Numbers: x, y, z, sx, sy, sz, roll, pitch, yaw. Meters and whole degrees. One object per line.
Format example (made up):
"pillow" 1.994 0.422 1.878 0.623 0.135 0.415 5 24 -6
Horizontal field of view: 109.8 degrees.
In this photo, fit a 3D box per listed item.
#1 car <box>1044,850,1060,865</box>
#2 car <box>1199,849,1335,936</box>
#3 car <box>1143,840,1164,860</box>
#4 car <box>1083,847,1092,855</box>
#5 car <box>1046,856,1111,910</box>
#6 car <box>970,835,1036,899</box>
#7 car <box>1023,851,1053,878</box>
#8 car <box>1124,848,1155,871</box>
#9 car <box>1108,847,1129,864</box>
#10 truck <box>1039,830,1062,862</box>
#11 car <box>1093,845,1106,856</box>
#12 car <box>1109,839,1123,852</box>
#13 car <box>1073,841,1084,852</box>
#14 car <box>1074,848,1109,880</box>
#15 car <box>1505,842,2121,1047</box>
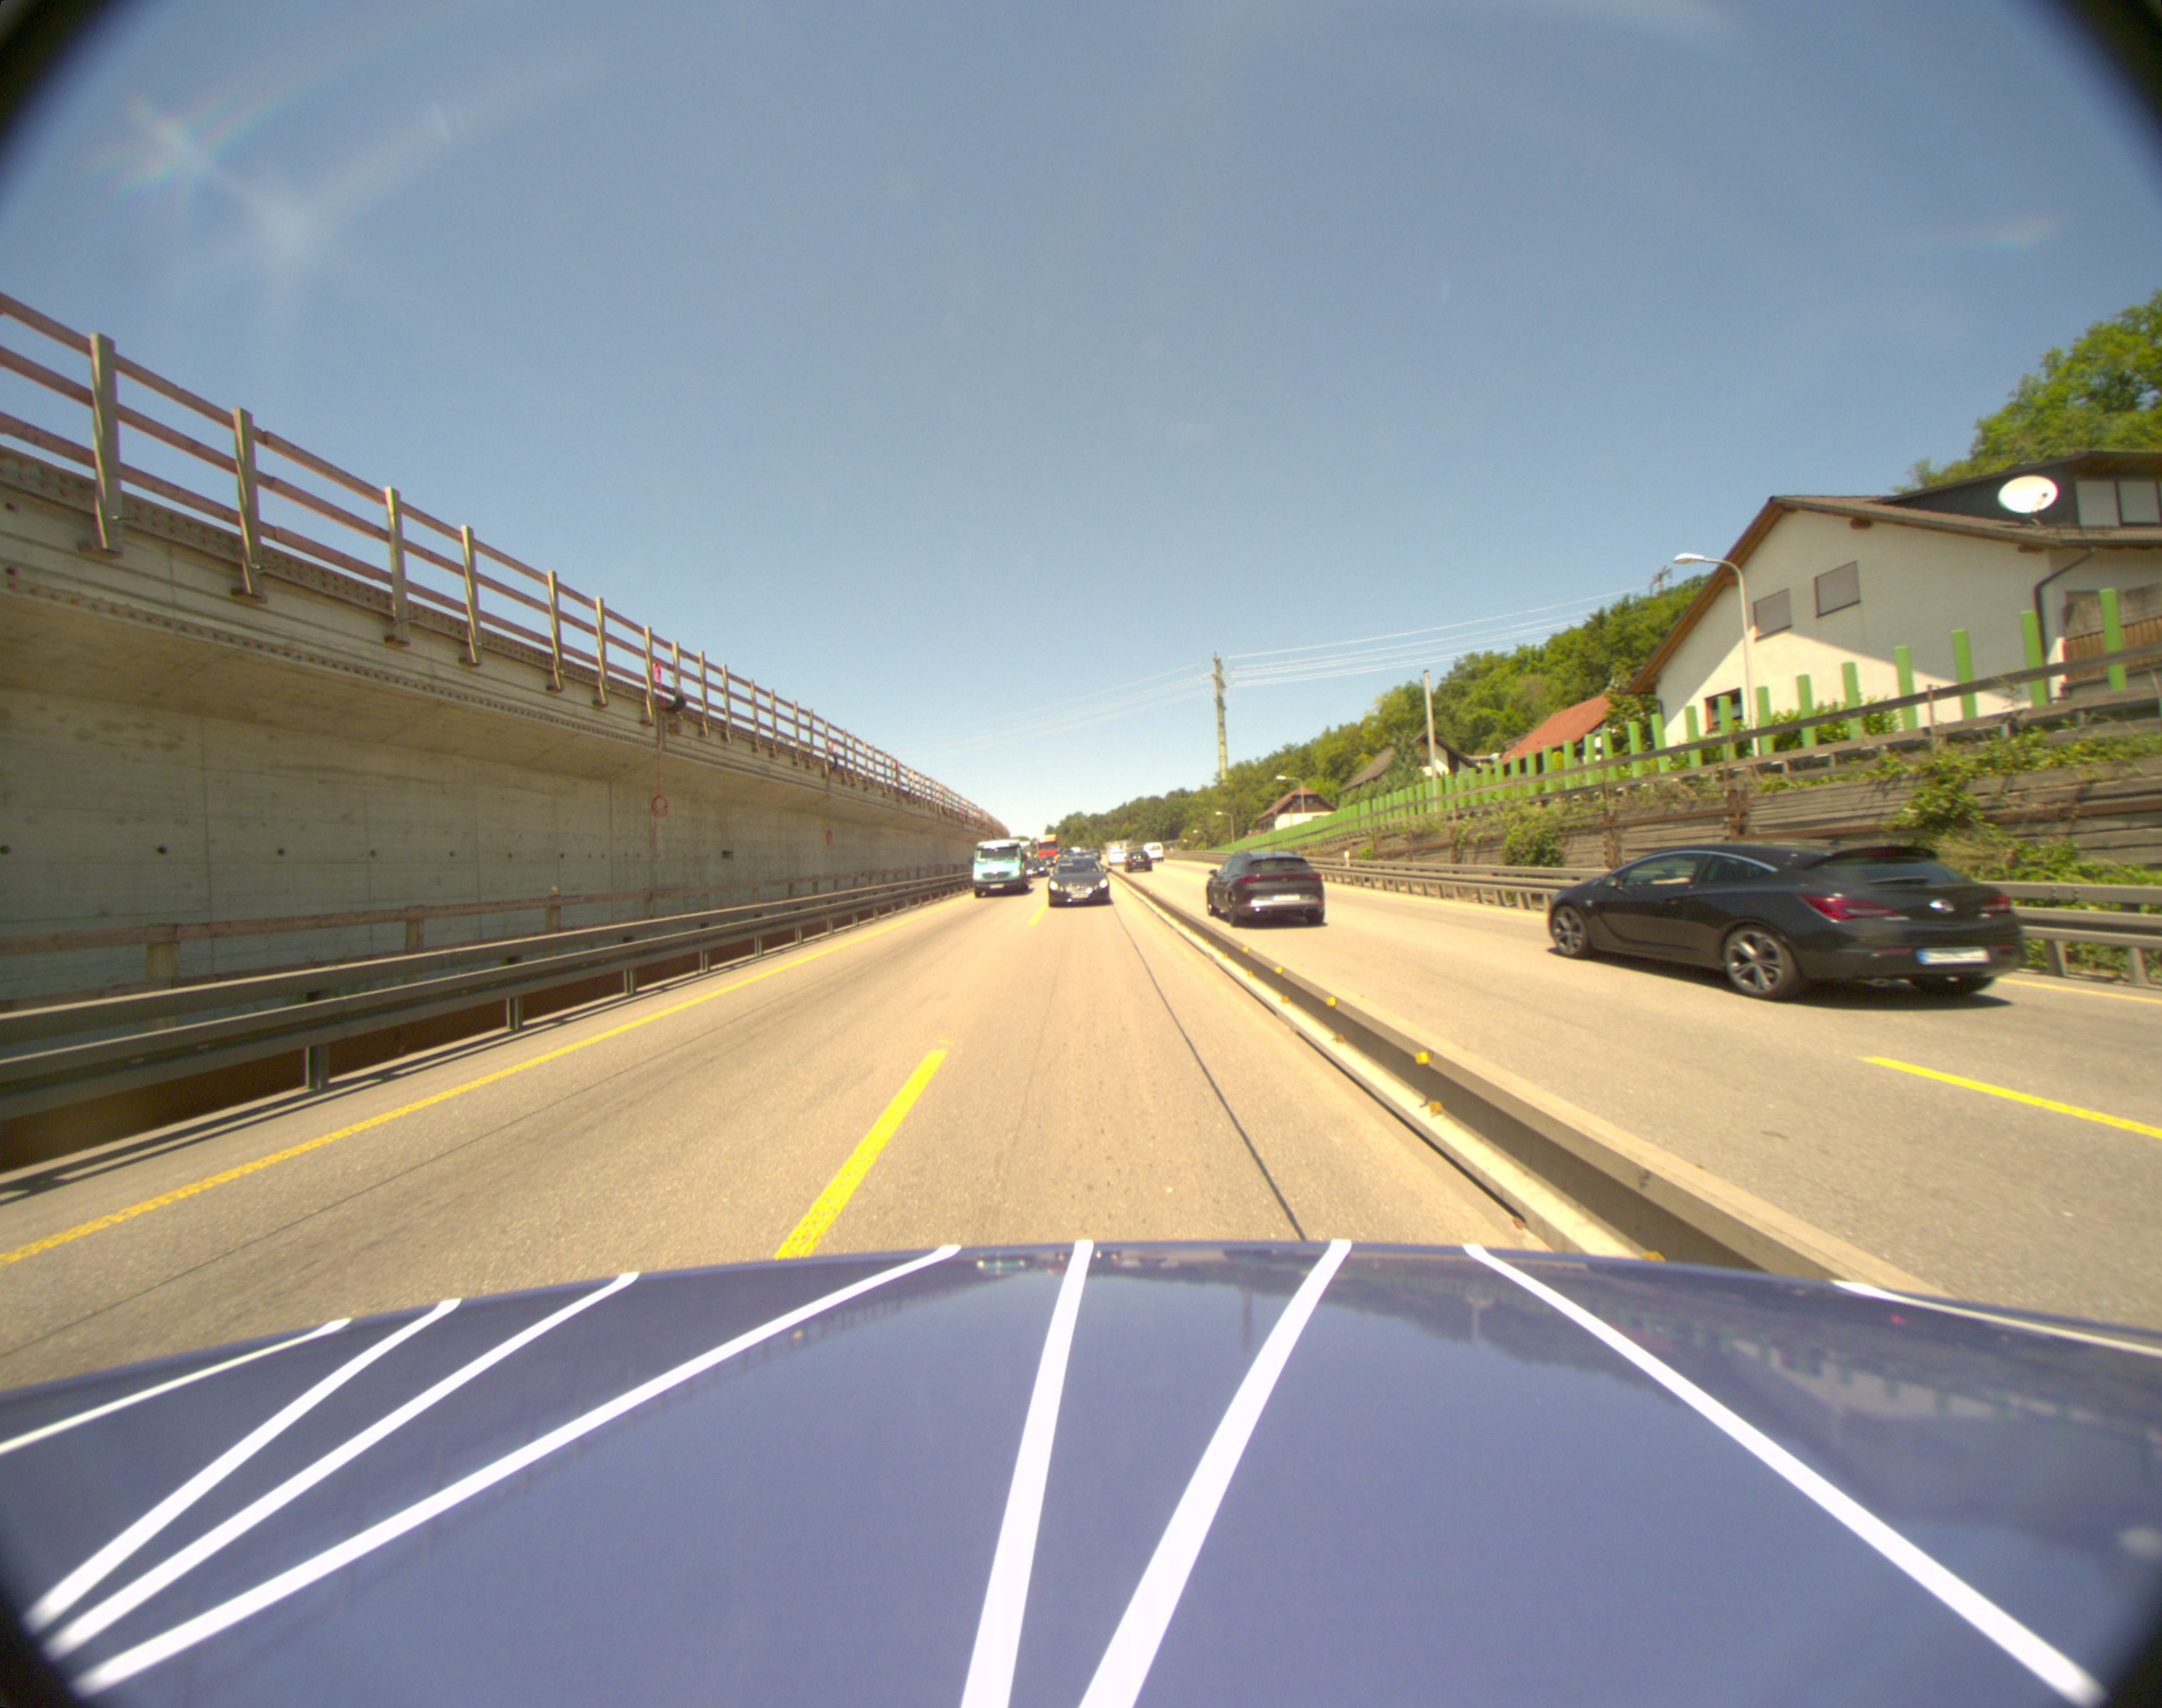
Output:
"car" -3.478 0.425 90.862 1.674 1.499 3.647 -5 1 0
"car" 3.791 0.704 16.292 1.847 1.521 4.293 -2 1 0
"car" 7.172 -0.421 75.571 1.600 1.823 4.752 -2 1 0
"car" 1.428 -0.746 172.395 1.999 1.816 4.507 -2 0 -1
"car" -0.151 0.840 23.891 1.793 1.440 4.296 -2 0 -2
"car" -3.251 0.486 33.200 1.968 2.367 7.209 -4 1 0
"car" -3.084 0.709 55.153 1.859 1.650 3.999 -5 1 0
"car" 3.948 0.347 51.801 1.610 1.438 4.668 -2 1 -1
"car" 3.624 0.099 73.417 1.737 1.429 4.257 -4 1 0
"truck" -4.273 -1.136 106.427 2.651 3.978 11.192 -5 1 -2
"car" 2.783 -0.526 112.642 1.779 1.624 4.099 -3 1 0
"car" 5.727 -1.365 123.492 1.830 1.914 5.242 -3 1 -1
"car" -0.563 -1.563 156.411 2.163 1.895 5.325 -3 1 0
"car" 0.578 0.550 45.752 1.860 1.650 3.999 -5 1 -1
"car" 6.958 0.649 8.264 1.818 1.440 5.005 -4 1 0
